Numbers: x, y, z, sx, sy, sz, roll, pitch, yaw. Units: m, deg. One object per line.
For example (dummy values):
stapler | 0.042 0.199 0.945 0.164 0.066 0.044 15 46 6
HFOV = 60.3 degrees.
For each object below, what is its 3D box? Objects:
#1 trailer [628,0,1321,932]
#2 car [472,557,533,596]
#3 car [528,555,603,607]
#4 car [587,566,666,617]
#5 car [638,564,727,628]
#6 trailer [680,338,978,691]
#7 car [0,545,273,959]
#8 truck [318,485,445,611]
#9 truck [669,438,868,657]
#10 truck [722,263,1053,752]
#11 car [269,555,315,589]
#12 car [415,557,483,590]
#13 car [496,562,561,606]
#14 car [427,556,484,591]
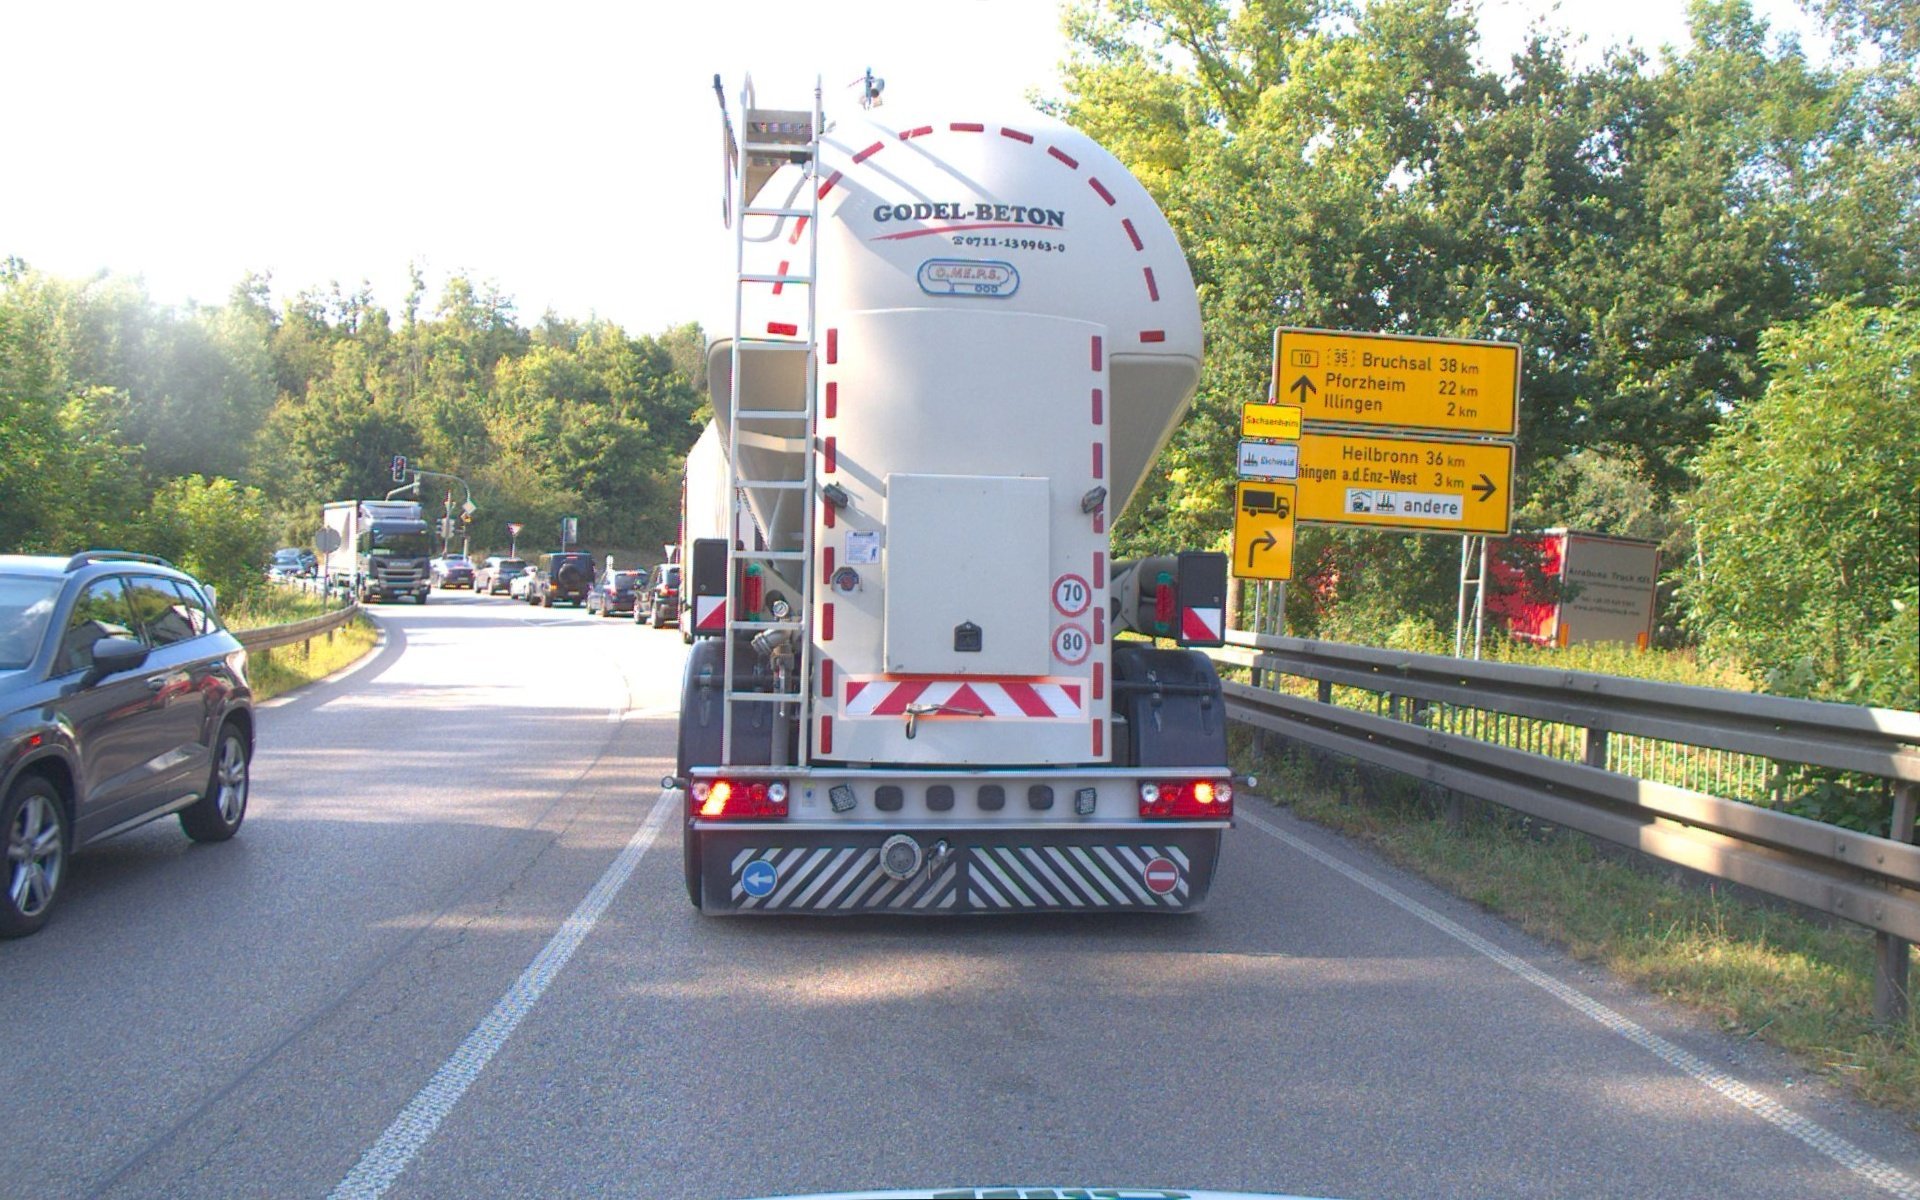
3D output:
trailer | -0.336 -0.920 11.648 2.830 4.532 9.595 1 0 -5
car | -20.807 -1.065 75.102 1.846 1.622 3.965 3 0 -27
car | -14.889 -0.761 62.255 1.933 1.883 3.966 -1 2 -26
car | -10.830 -0.301 53.534 1.841 1.592 3.974 -1 1 -21
car | -7.688 -0.155 45.617 1.839 1.656 3.979 0 1 -18
trailer | -2.800 -1.159 28.527 3.483 4.592 12.947 2 0 -11
car | -4.824 0.565 7.957 1.832 1.592 3.993 0 1 -8
truck | -23.443 -1.990 66.613 2.980 4.665 10.139 1 0 -30
truck | -4.269 -1.029 35.443 3.391 4.158 6.468 2 0 -14
truck | -0.969 -0.783 17.014 2.771 4.105 5.885 1 0 -7
car | -34.492 -1.458 85.394 1.845 1.584 3.966 3 0 -27
car | -33.389 -1.727 107.979 3.939 1.884 1.858 3 0 -27
car | -18.386 -0.684 70.370 1.846 1.712 3.965 3 0 -27
car | -25.131 -1.340 82.314 1.847 1.592 3.961 3 0 -29
